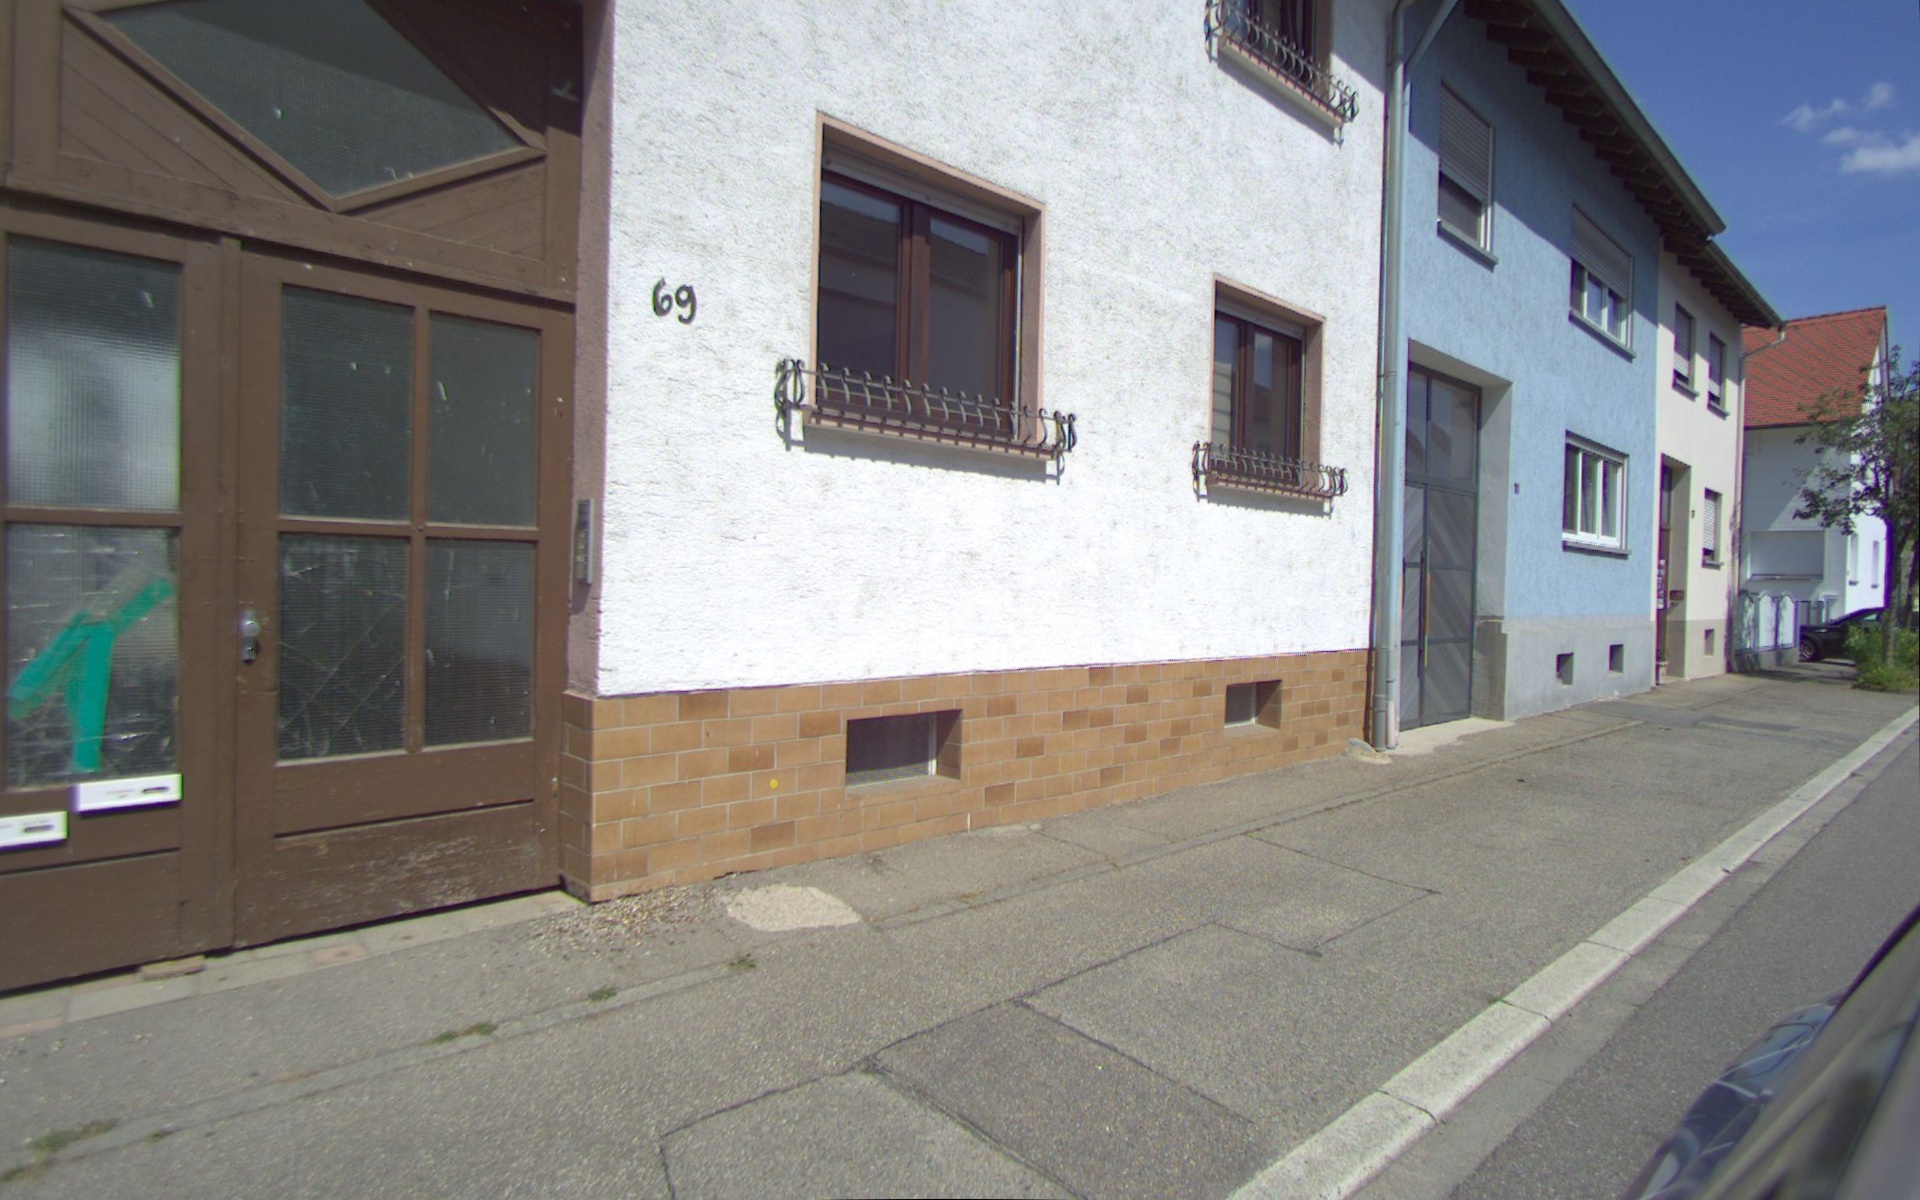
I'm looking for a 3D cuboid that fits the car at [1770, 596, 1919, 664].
[{"bbox_3d":[21.534,0.687,23.602,1.696,1.446,3.817,1,1,-38],"label":"car"}]
